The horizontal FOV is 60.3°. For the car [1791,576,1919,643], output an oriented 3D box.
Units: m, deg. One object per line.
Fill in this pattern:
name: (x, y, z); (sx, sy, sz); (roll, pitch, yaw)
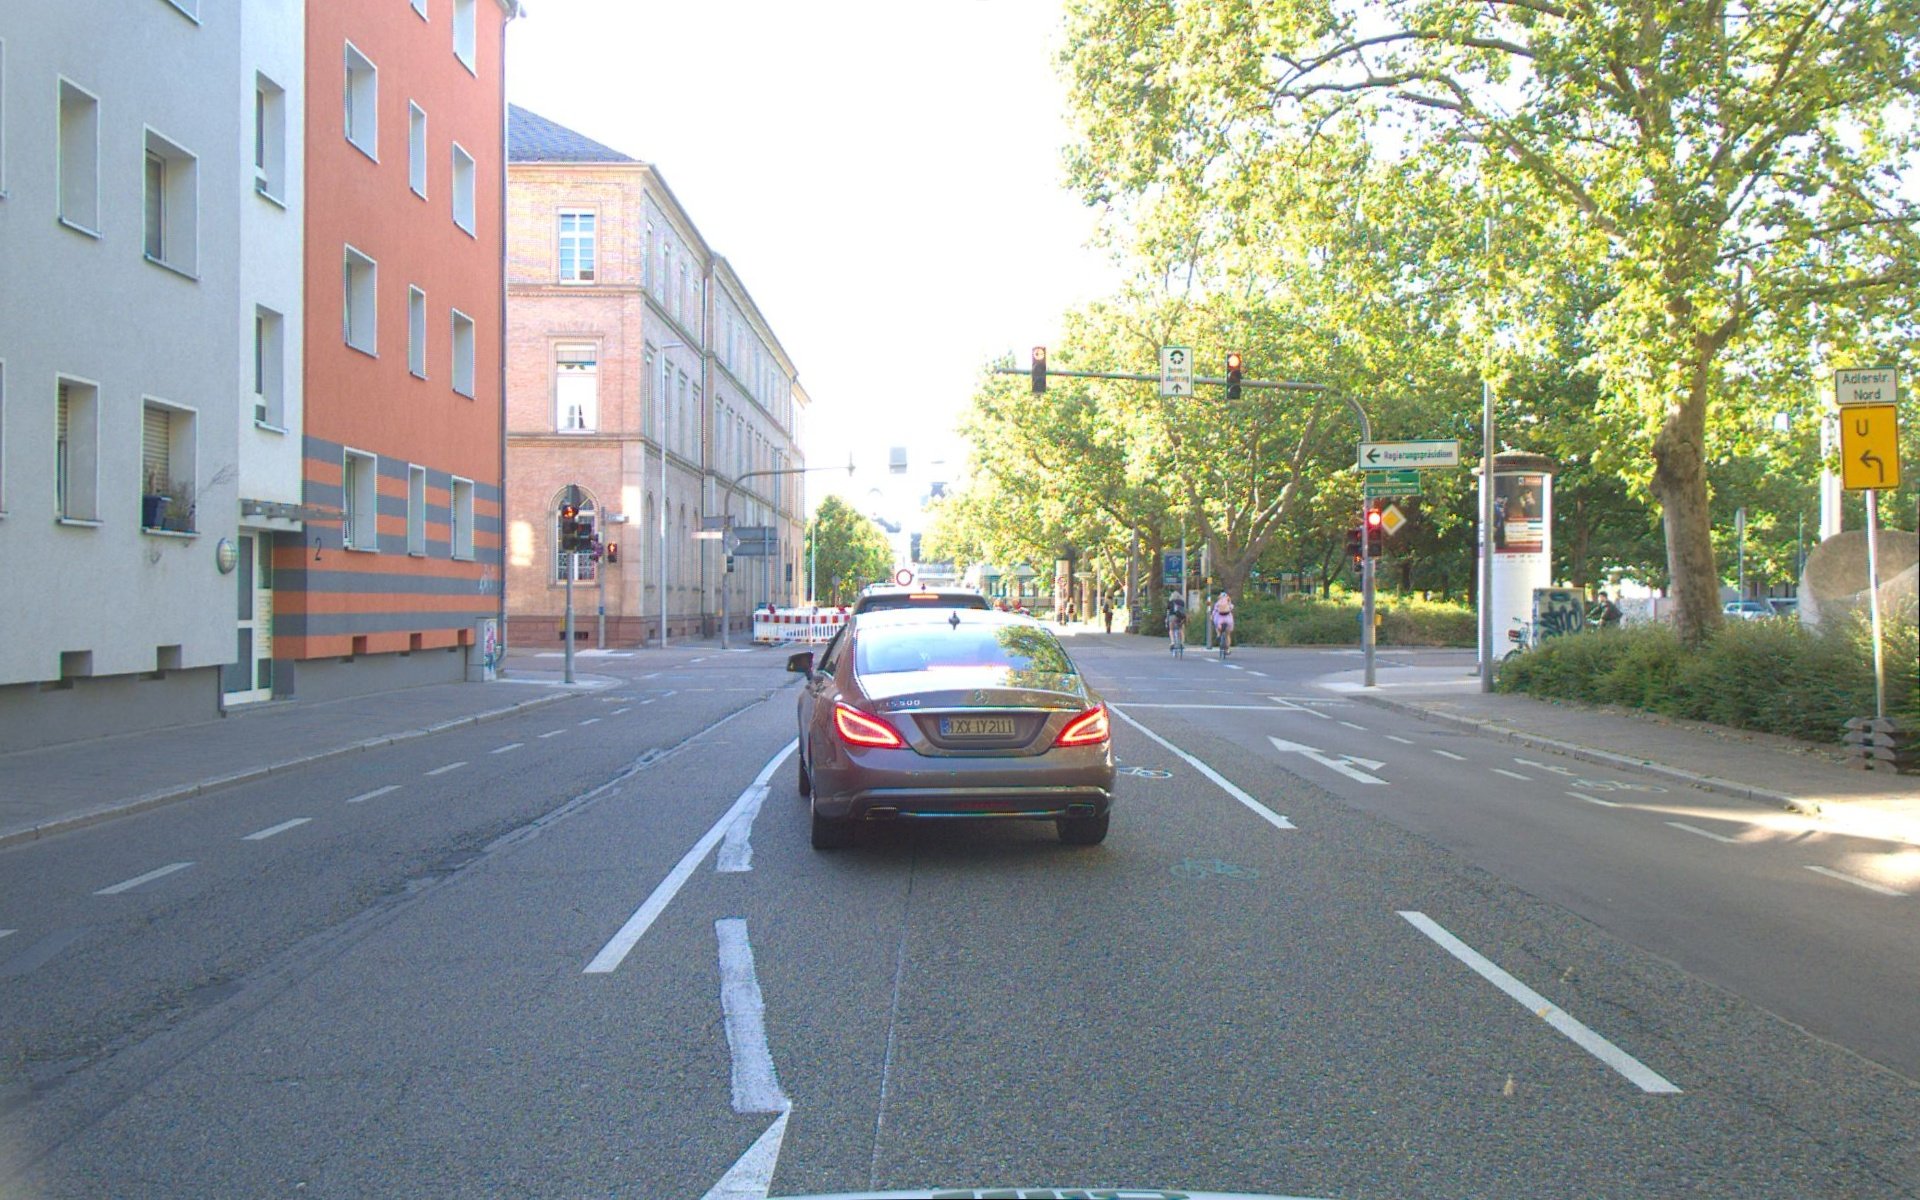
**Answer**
car: (25.539, 0.247, 45.963); (3.912, 1.815, 2.001); (0, 0, 4)

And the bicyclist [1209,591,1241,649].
bicyclist: (6.646, 0.505, 41.531); (0.588, 1.426, 0.931); (2, 0, -1)

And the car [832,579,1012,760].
car: (-0.412, 0.638, 17.111); (1.647, 1.653, 3.839); (0, 0, -2)

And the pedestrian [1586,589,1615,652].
pedestrian: (18.588, 0.582, 48.039); (0.607, 1.815, 0.630); (0, 0, 1)

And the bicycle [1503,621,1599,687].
bicycle: (9.694, 0.879, 27.128); (1.387, 1.055, 0.538); (0, 0, -5)

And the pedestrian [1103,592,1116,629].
pedestrian: (6.924, 0.504, 76.668); (0.548, 1.707, 0.564); (0, 0, -1)

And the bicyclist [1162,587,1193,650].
bicyclist: (5.428, 0.463, 41.248); (0.598, 1.542, 0.889); (2, 0, -1)

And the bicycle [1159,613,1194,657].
bicycle: (5.413, 0.868, 41.385); (0.598, 1.044, 1.731); (2, 0, -1)

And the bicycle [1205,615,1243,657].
bicycle: (6.630, 0.887, 41.619); (0.588, 1.002, 1.881); (2, 0, -1)

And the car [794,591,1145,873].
car: (-0.152, 0.704, 11.100); (1.787, 1.502, 4.346); (0, 0, -8)
